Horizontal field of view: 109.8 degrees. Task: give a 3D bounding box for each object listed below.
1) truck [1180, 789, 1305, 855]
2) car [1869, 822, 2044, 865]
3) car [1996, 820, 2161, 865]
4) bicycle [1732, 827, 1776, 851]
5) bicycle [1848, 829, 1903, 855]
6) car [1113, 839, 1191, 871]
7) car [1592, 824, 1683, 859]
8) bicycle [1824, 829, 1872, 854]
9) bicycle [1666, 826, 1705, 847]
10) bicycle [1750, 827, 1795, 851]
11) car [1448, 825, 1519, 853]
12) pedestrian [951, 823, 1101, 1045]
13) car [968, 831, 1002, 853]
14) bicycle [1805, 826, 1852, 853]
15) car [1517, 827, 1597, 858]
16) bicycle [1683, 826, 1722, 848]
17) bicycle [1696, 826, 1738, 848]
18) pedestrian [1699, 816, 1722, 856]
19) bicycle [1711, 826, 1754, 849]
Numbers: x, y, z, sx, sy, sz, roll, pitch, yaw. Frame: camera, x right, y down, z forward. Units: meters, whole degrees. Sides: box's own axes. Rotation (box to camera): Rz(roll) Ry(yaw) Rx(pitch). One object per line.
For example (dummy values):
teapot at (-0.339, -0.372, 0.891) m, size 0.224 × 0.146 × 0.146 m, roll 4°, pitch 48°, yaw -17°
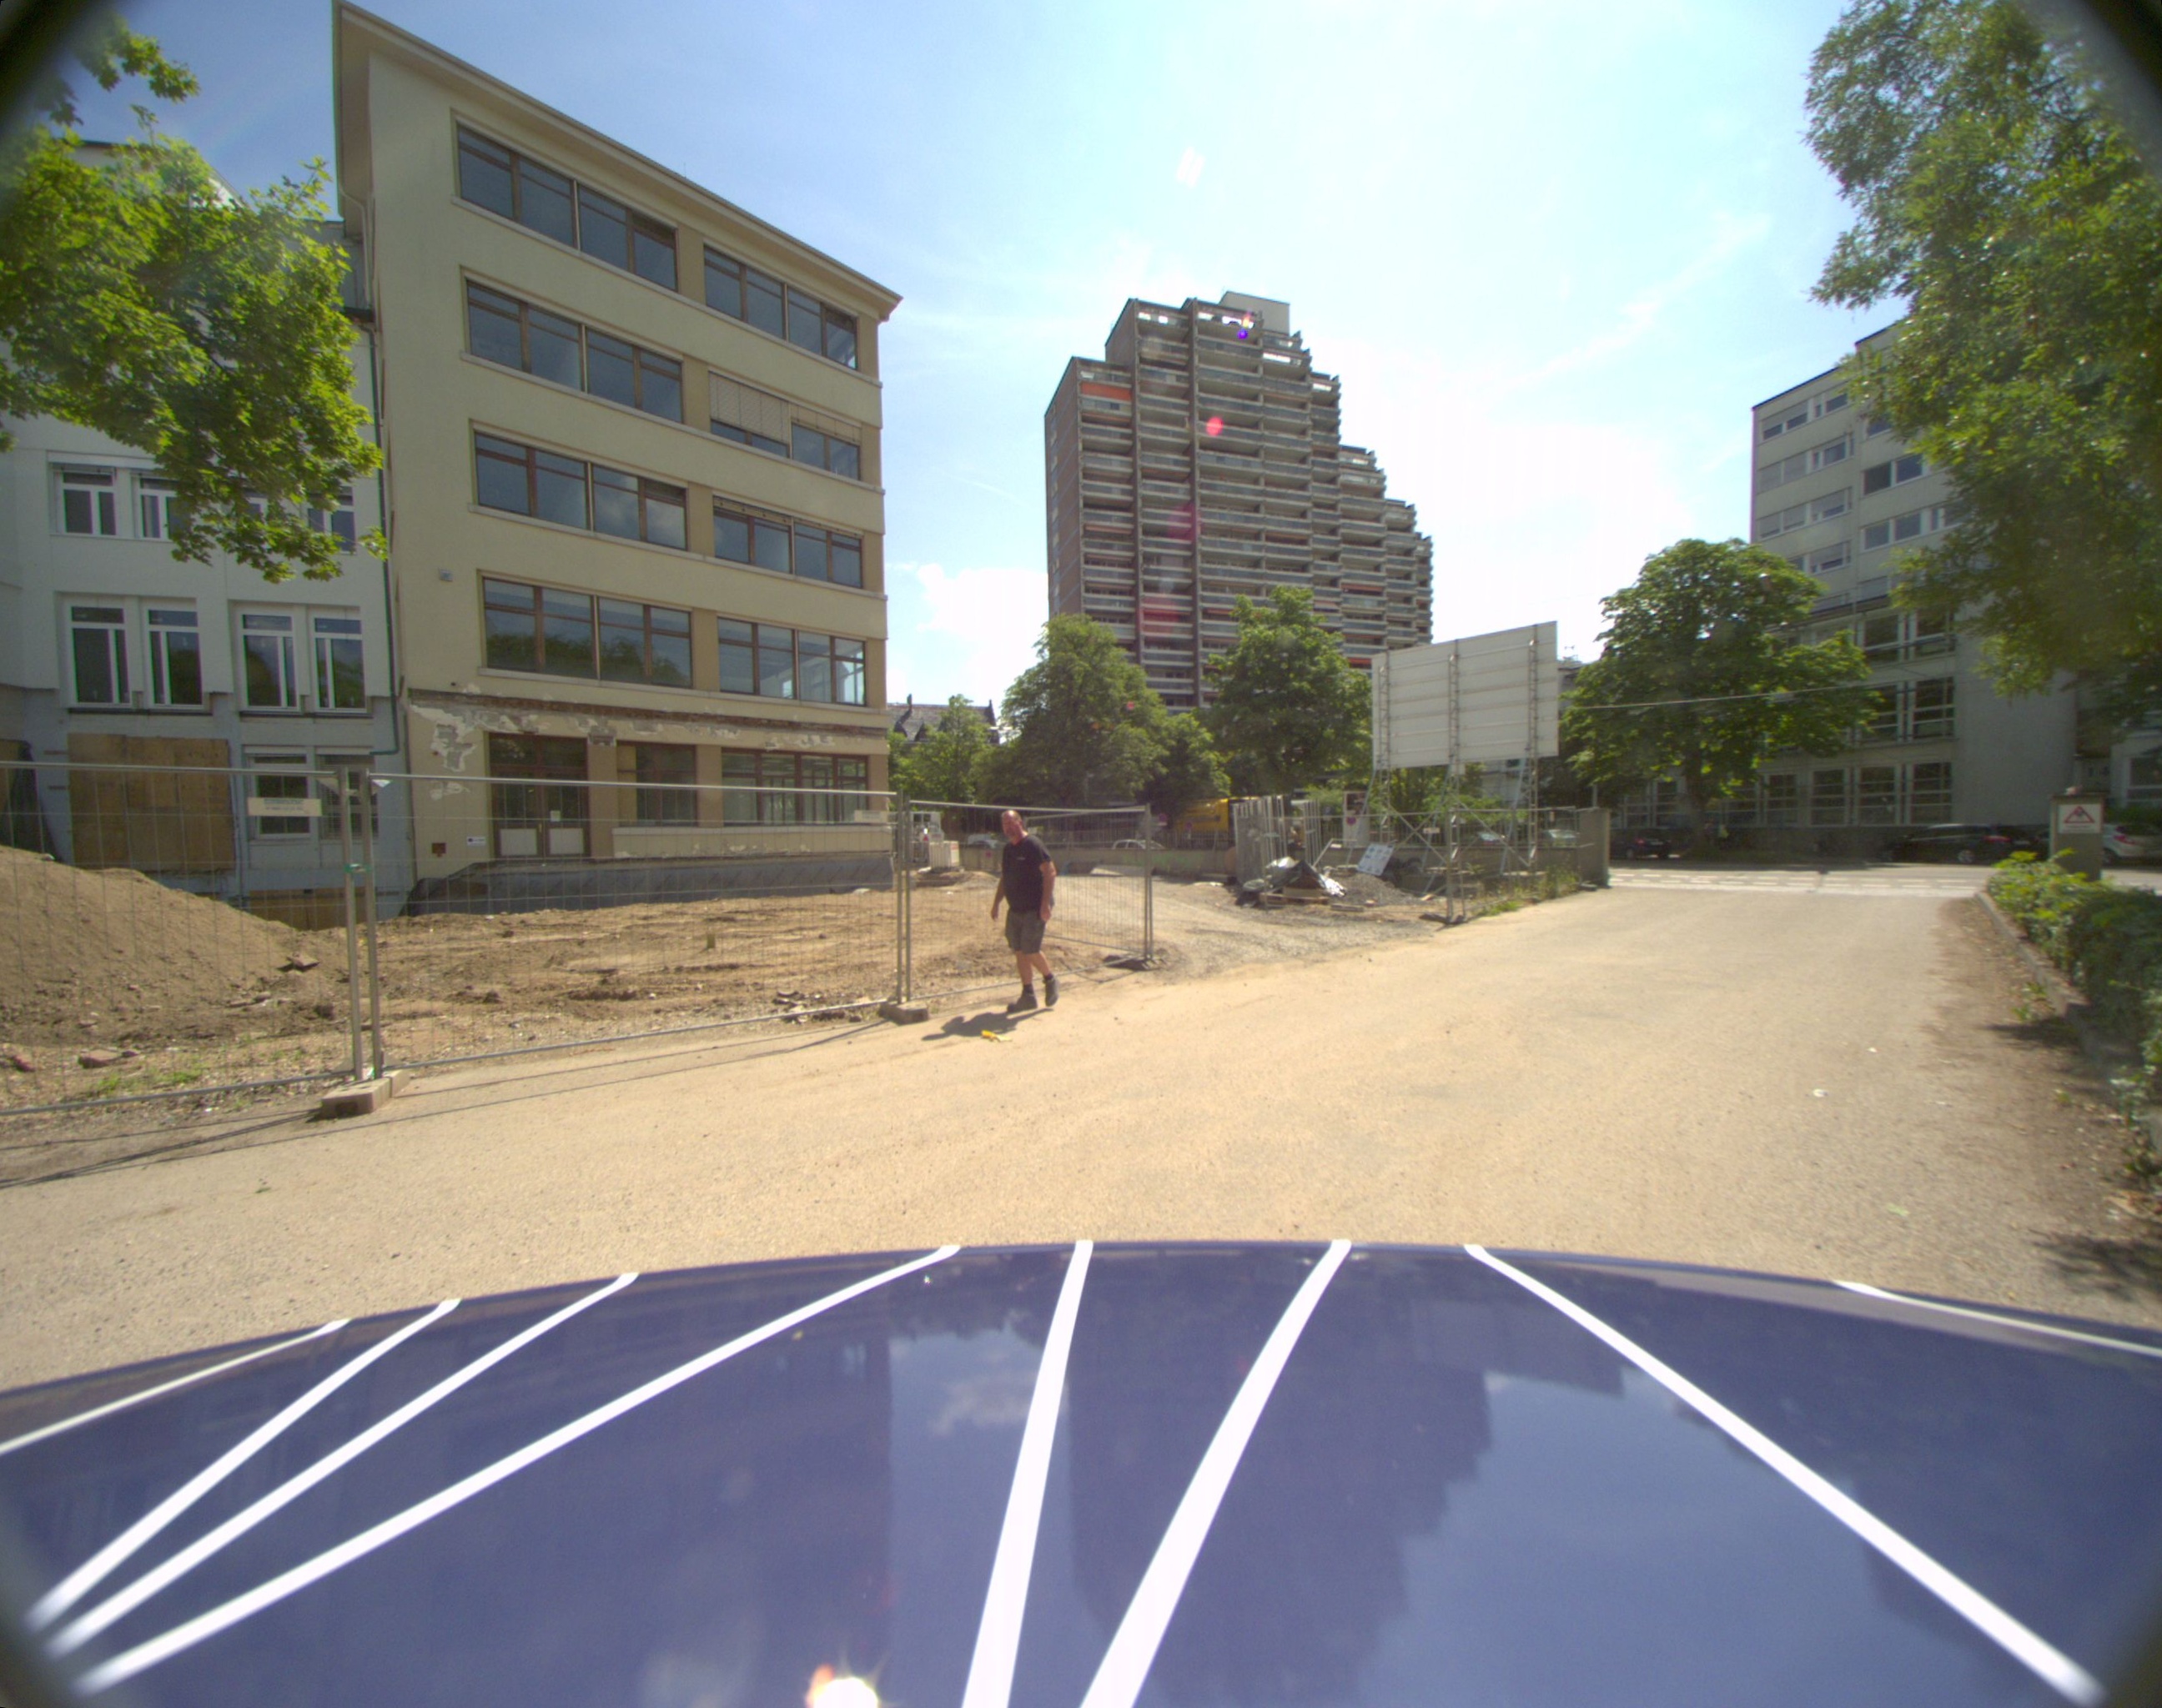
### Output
truck at (10.606, -2.066, 51.307) m, size 2.754 × 3.984 × 9.721 m, roll -3°, pitch 2°, yaw -26°
car at (32.721, -0.429, 28.606) m, size 1.753 × 1.461 × 4.196 m, roll -1°, pitch 2°, yaw 1°
car at (34.757, -0.427, 26.359) m, size 1.753 × 1.454 × 3.539 m, roll -1°, pitch 2°, yaw 1°
bicycle at (33.383, -0.758, 37.694) m, size 1.944 × 1.124 × 0.568 m, roll -1°, pitch 2°, yaw -12°
bicycle at (35.186, -0.529, 33.654) m, size 2.235 × 1.124 × 0.568 m, roll -1°, pitch 2°, yaw -12°
car at (3.360, 0.014, 36.410) m, size 1.625 × 1.432 × 3.573 m, roll -2°, pitch 2°, yaw -39°
car at (25.793, -0.589, 35.382) m, size 1.649 × 1.508 × 3.575 m, roll -1°, pitch 1°, yaw 1°
bicycle at (34.693, -0.568, 34.364) m, size 1.944 × 1.124 × 0.568 m, roll -1°, pitch 2°, yaw -12°
bicycle at (32.495, -0.938, 40.844) m, size 1.929 × 1.124 × 0.567 m, roll -1°, pitch 2°, yaw -15°
bicycle at (33.596, -0.718, 36.934) m, size 1.944 × 1.124 × 0.568 m, roll -1°, pitch 2°, yaw -12°
car at (21.214, -0.799, 40.206) m, size 1.629 × 1.365 × 4.021 m, roll -1°, pitch 2°, yaw 0°
pedestrian at (-0.486, 0.641, 6.825) m, size 0.868 × 1.809 × 0.969 m, roll 1°, pitch 3°, yaw 45°
car at (-9.314, -1.193, 73.817) m, size 1.996 × 2.002 × 4.003 m, roll -1°, pitch 2°, yaw 12°
bicycle at (34.633, -0.678, 35.202) m, size 1.944 × 1.230 × 0.568 m, roll -1°, pitch 2°, yaw -12°
car at (23.526, -0.586, 37.694) m, size 1.817 × 1.454 × 4.024 m, roll -1°, pitch 1°, yaw 7°
bicycle at (32.807, -0.902, 40.129) m, size 1.929 × 1.124 × 0.567 m, roll -1°, pitch 2°, yaw -15°
bicycle at (32.963, -0.875, 39.374) m, size 1.928 × 1.124 × 0.568 m, roll -1°, pitch 2°, yaw -12°
pedestrian at (29.796, -0.844, 35.961) m, size 0.717 × 1.864 × 0.576 m, roll -2°, pitch 2°, yaw -29°
bicycle at (33.142, -0.831, 38.649) m, size 1.944 × 1.124 × 0.568 m, roll -1°, pitch 2°, yaw -12°
